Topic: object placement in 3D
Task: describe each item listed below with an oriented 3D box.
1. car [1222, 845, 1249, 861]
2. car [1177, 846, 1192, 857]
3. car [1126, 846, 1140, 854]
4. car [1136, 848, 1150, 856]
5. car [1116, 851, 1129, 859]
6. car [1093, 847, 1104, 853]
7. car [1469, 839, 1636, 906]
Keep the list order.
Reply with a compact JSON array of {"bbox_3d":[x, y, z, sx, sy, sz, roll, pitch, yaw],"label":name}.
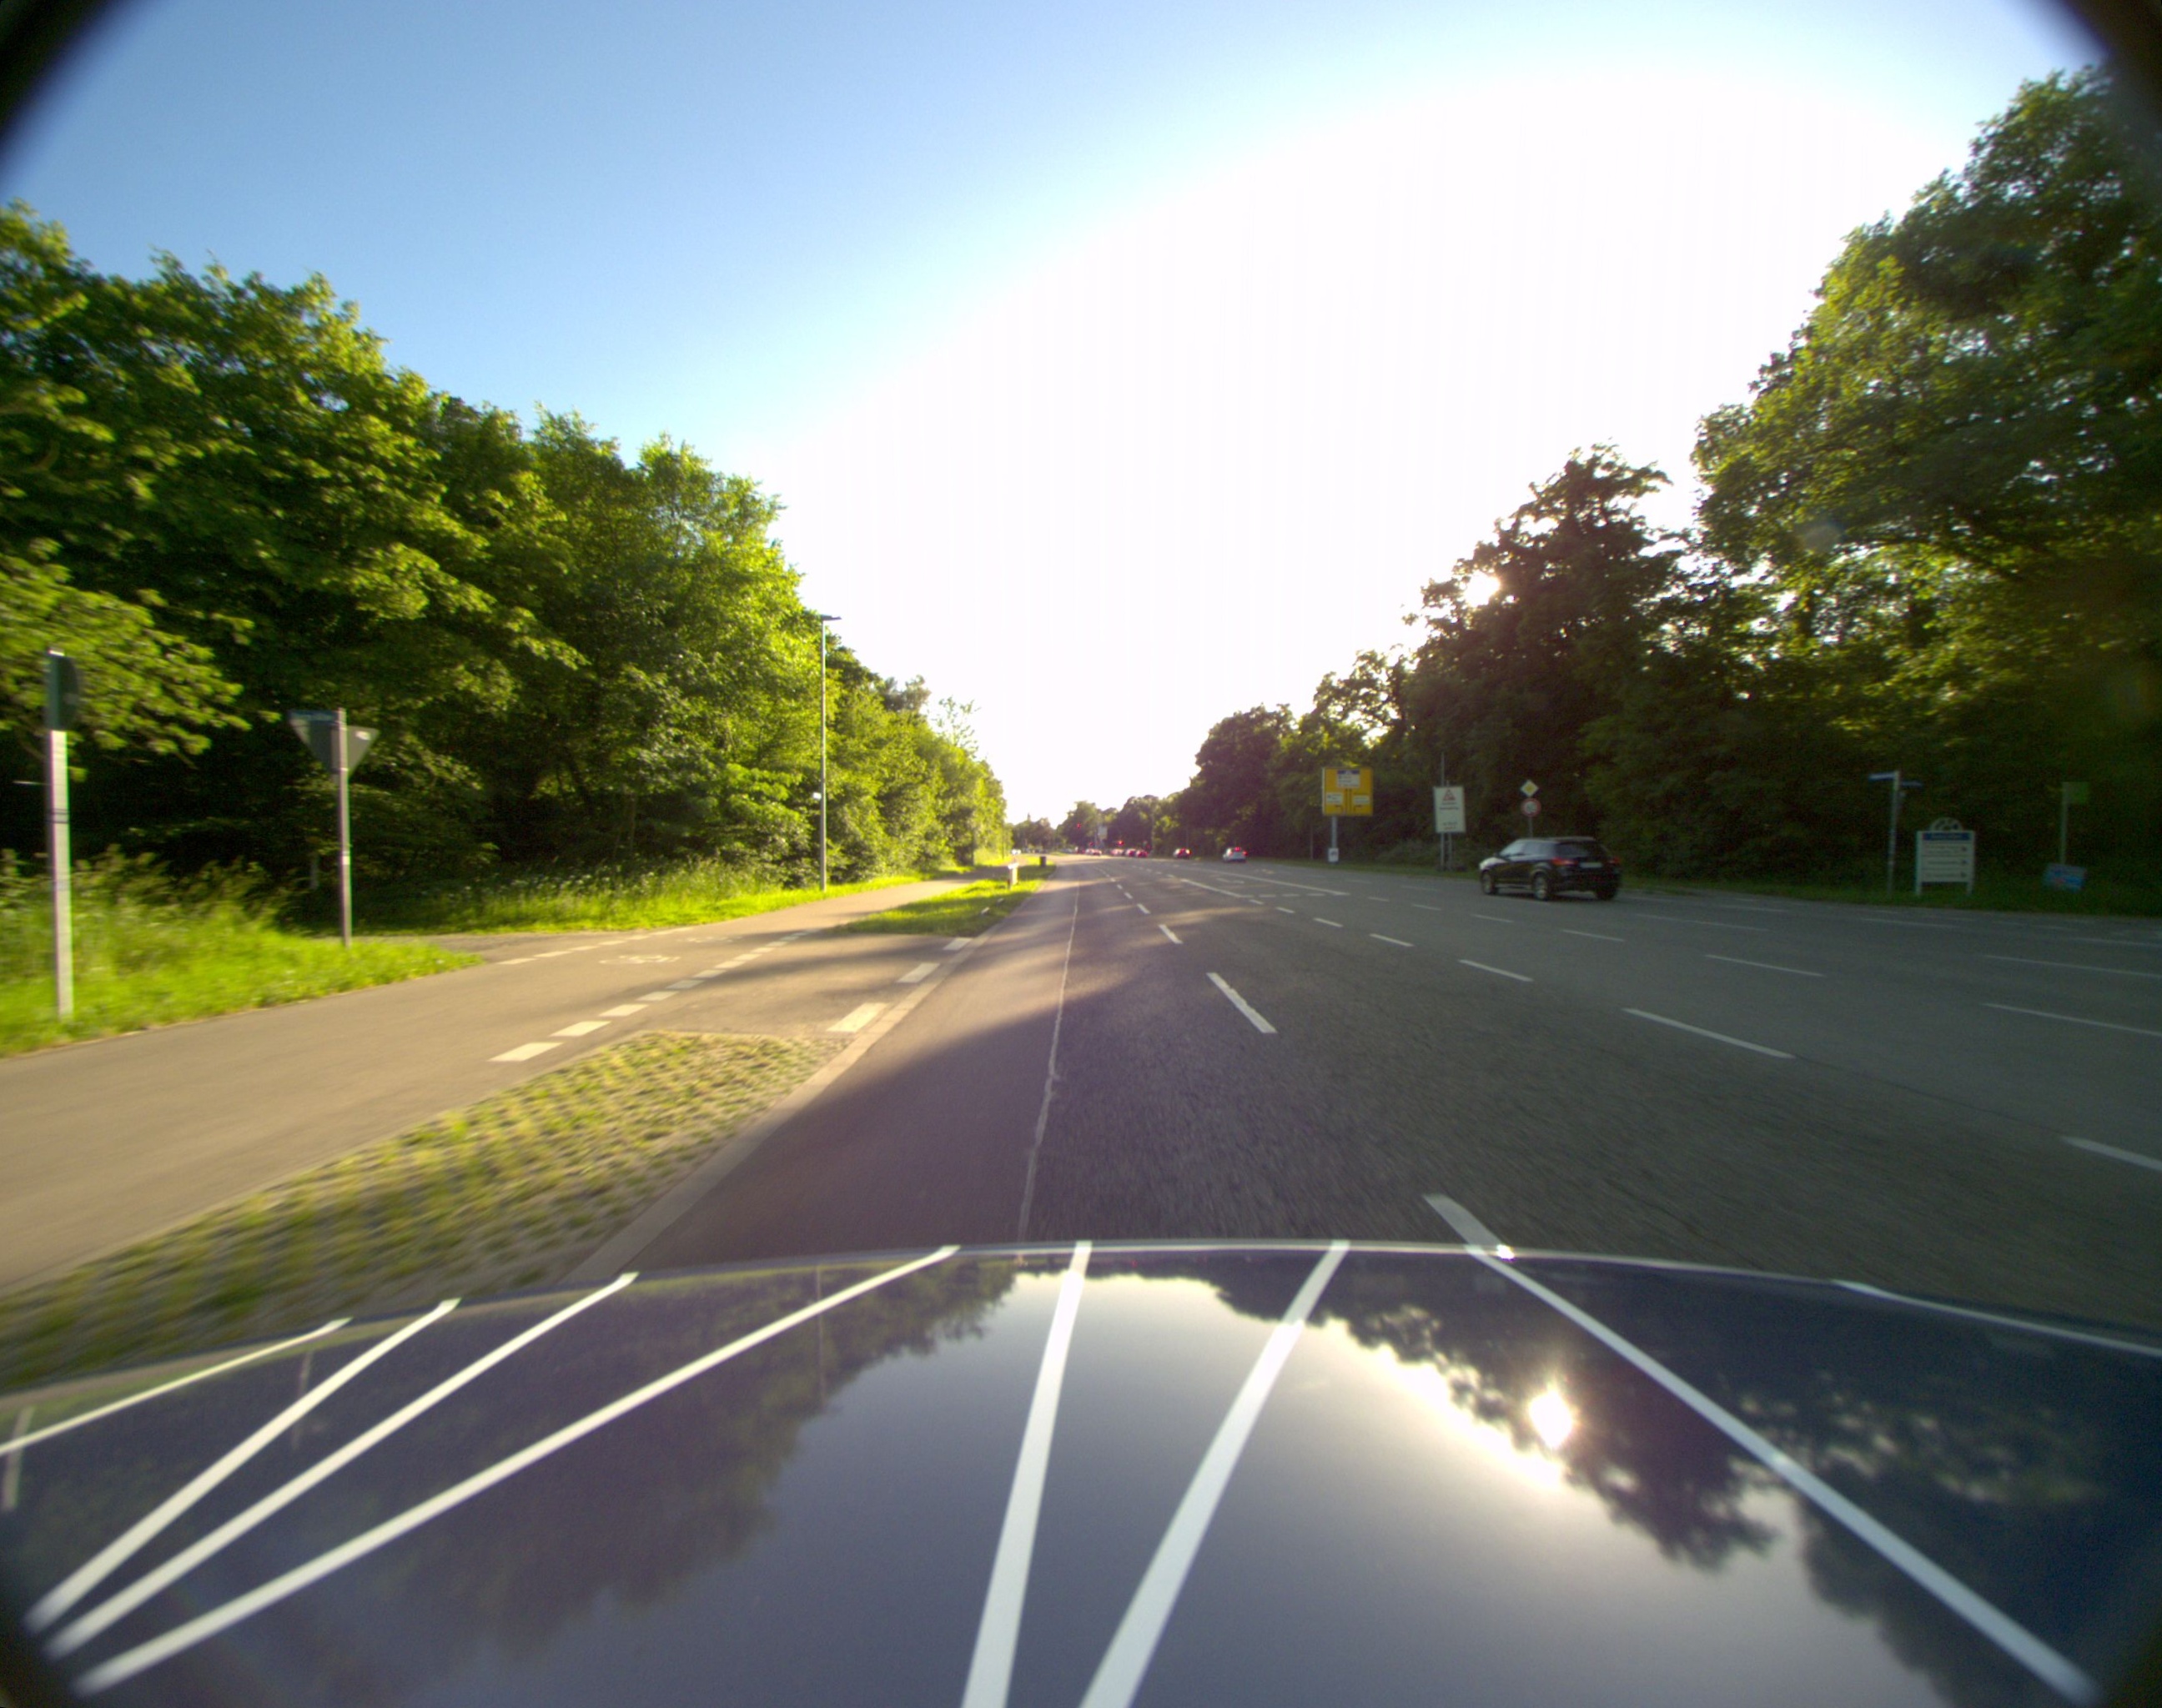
[{"bbox_3d":[15.295,-0.101,75.390,1.829,1.495,4.306,-1,1,1],"label":"car"},{"bbox_3d":[14.864,-0.340,109.453,1.829,1.536,4.257,-1,1,3],"label":"car"},{"bbox_3d":[10.535,-0.778,155.191,2.000,1.627,4.840,0,1,-6],"label":"car"},{"bbox_3d":[11.911,-0.413,145.560,1.999,1.555,4.336,0,1,-4],"label":"car"},{"bbox_3d":[8.882,0.280,162.342,2.000,1.555,4.644,3,0,-6],"label":"car"},{"bbox_3d":[3.667,-0.784,160.497,1.749,1.227,4.671,0,0,-4],"label":"car"},{"bbox_3d":[12.471,0.431,20.476,1.829,1.580,4.351,-1,1,1],"label":"car"}]
